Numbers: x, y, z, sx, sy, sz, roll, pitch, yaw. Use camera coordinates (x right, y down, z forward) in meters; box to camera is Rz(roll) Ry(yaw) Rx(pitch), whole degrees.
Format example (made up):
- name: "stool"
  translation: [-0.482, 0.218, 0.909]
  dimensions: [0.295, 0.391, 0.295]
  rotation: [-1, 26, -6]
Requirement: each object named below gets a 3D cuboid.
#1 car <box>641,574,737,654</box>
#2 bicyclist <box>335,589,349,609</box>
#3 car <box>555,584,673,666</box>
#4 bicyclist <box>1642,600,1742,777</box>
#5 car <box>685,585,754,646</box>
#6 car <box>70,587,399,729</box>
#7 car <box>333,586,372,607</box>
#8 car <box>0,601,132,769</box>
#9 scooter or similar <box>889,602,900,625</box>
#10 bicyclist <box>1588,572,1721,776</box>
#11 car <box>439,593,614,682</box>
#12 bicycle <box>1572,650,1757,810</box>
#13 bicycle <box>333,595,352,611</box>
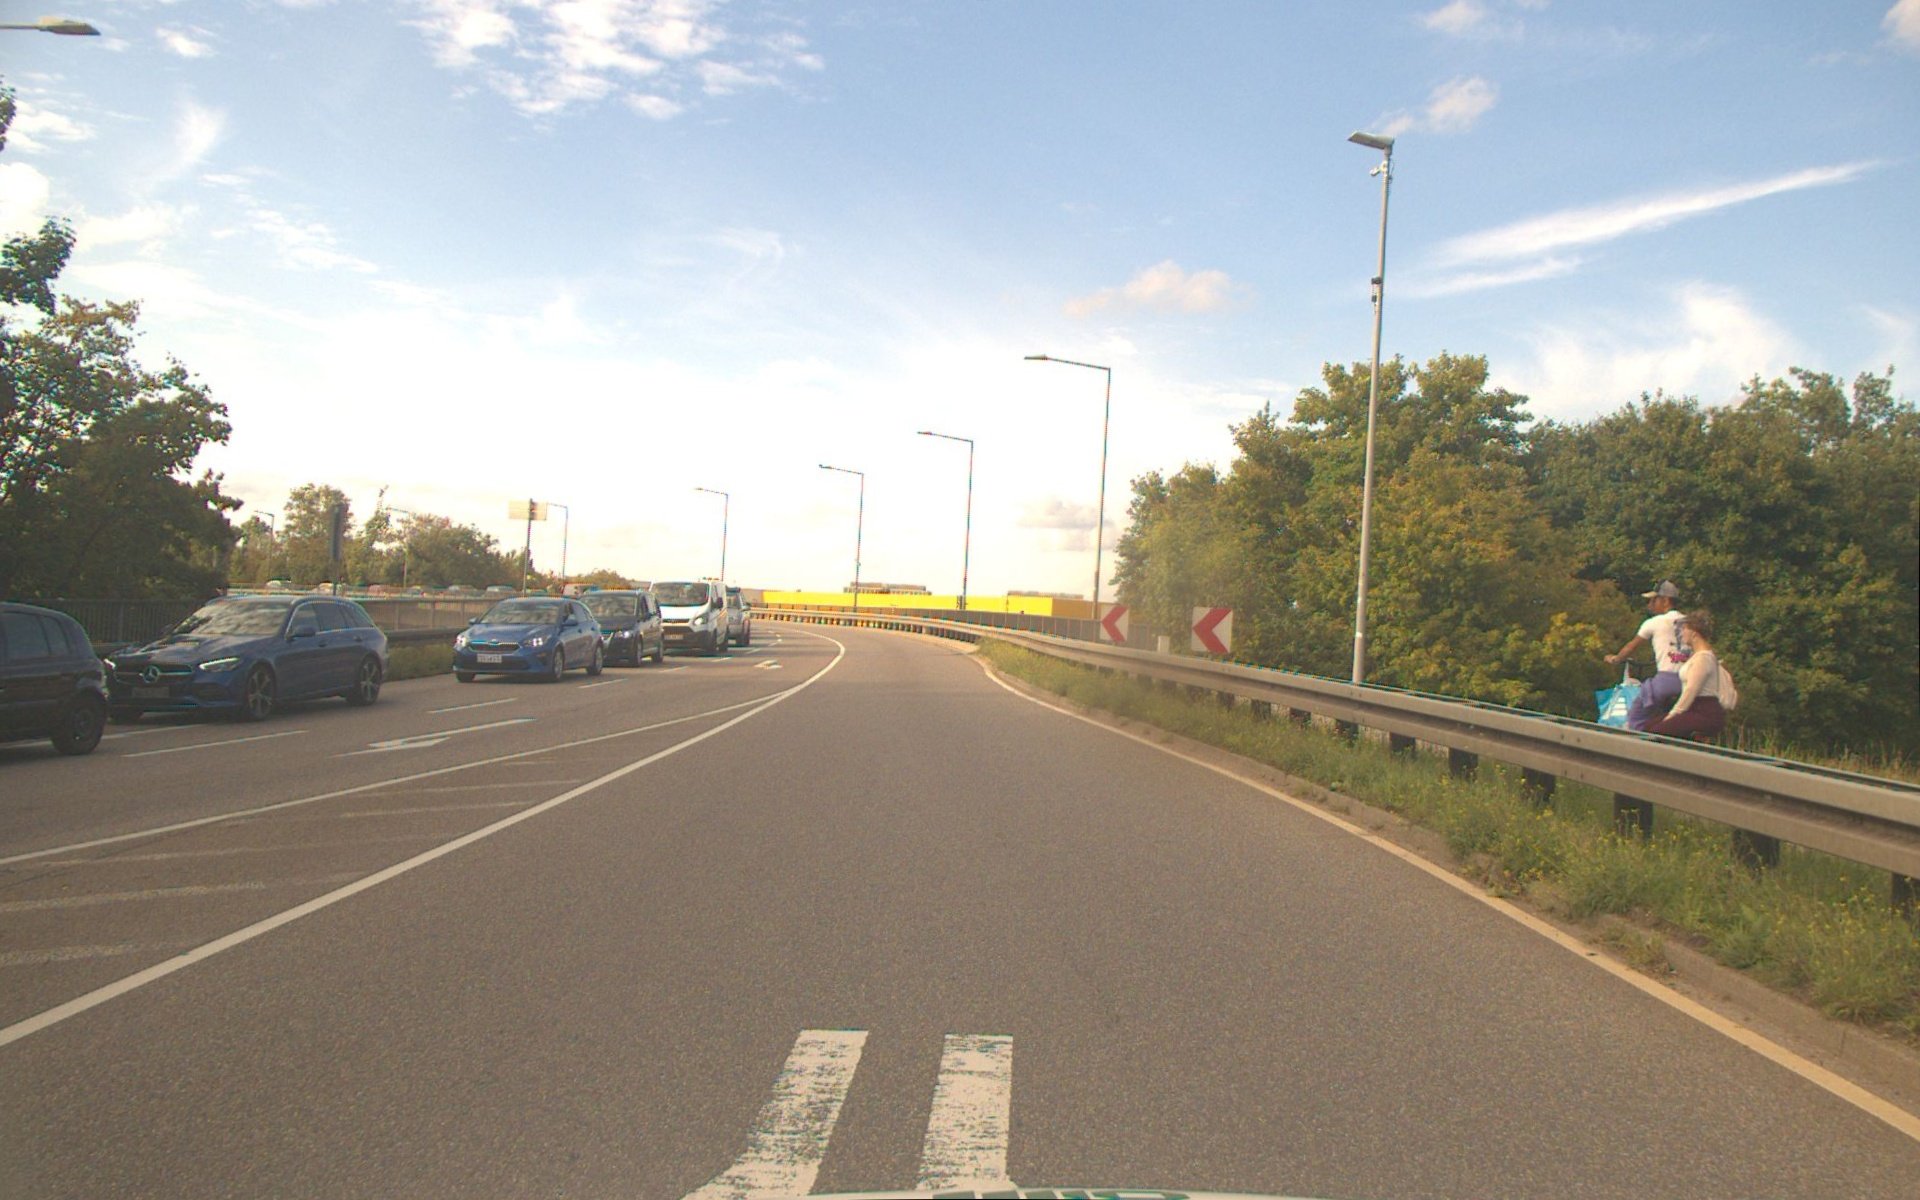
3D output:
- name: "car"
  translation: [-7.164, 0.336, 44.132]
  dimensions: [1.945, 1.998, 5.045]
  rotation: [1, 0, -3]
- name: "bicyclist"
  translation: [-52.943, -0.097, 141.703]
  dimensions: [1.101, 1.690, 0.764]
  rotation: [0, -1, 44]
- name: "car"
  translation: [-7.550, 0.511, 36.467]
  dimensions: [1.710, 1.683, 4.452]
  rotation: [1, 0, -1]
- name: "bicyclist"
  translation: [5.612, 0.667, 12.693]
  dimensions: [0.490, 1.324, 0.538]
  rotation: [1, -1, -7]
- name: "car"
  translation: [-7.337, 0.441, 50.767]
  dimensions: [1.738, 1.776, 3.835]
  rotation: [1, 0, -3]
- name: "car"
  translation: [-8.857, 0.629, 20.711]
  dimensions: [1.776, 1.547, 4.766]
  rotation: [1, 0, 3]
- name: "car"
  translation: [-54.979, -0.321, 149.605]
  dimensions: [3.769, 1.776, 1.768]
  rotation: [1, 0, 42]
- name: "car"
  translation: [-8.910, 0.721, 13.947]
  dimensions: [1.590, 1.389, 3.776]
  rotation: [1, 0, 7]
- name: "scooter or similar"
  translation: [-3.404, 0.703, 85.594]
  dimensions: [0.261, 1.182, 1.183]
  rotation: [1, 0, -17]
- name: "bicyclist"
  translation: [5.559, 0.583, 13.272]
  dimensions: [0.693, 1.584, 0.753]
  rotation: [1, -1, -7]
- name: "car"
  translation: [-7.708, 0.619, 29.829]
  dimensions: [1.853, 1.473, 4.362]
  rotation: [1, 0, 2]
- name: "bicycle"
  translation: [5.561, 0.996, 13.160]
  dimensions: [0.584, 1.140, 1.694]
  rotation: [1, 0, -6]
- name: "bicycle"
  translation: [-52.892, 0.273, 141.648]
  dimensions: [1.884, 1.355, 0.761]
  rotation: [1, -1, 44]
